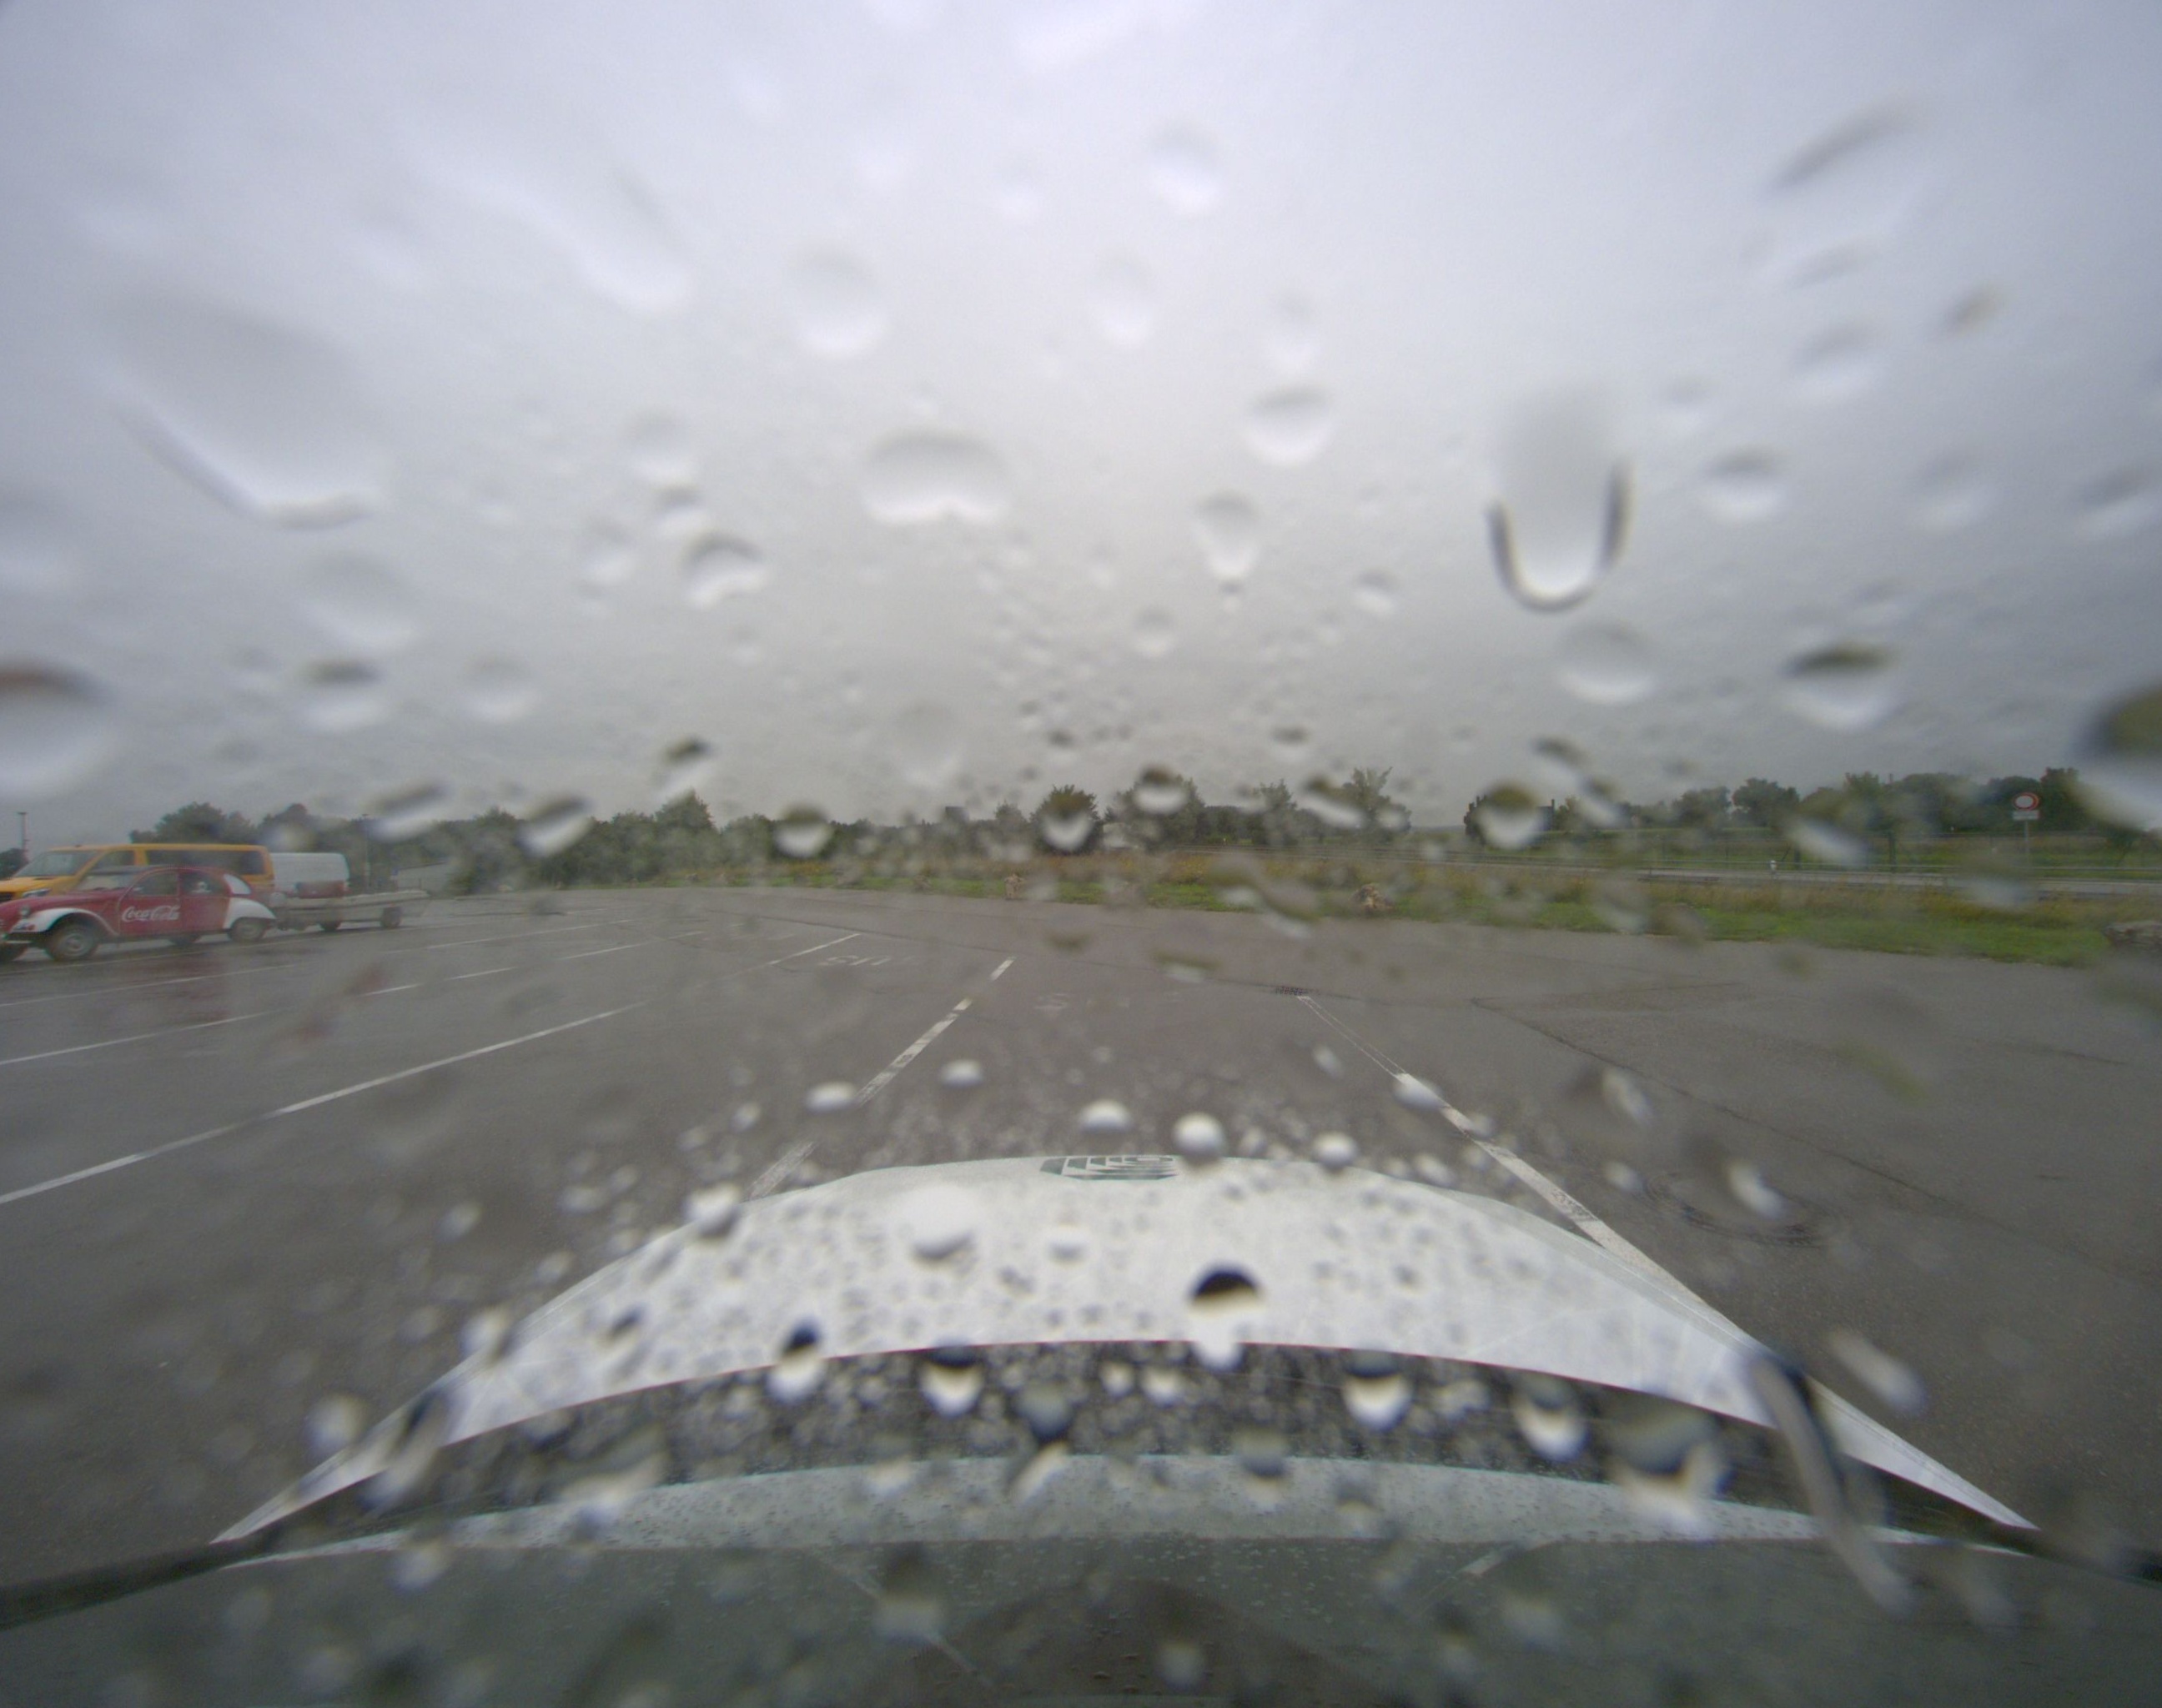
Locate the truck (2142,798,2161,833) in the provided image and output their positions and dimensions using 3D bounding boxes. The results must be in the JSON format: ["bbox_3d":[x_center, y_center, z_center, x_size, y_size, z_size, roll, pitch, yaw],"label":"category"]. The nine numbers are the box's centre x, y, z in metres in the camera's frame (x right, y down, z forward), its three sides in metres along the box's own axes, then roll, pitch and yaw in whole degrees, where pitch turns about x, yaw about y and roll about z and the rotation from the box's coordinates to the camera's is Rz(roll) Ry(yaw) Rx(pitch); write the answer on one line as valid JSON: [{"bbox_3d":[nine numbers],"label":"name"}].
[{"bbox_3d":[91.901,-3.208,65.482,2.185,2.908,7.736,-1,1,-21],"label":"truck"}]

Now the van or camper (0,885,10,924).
[{"bbox_3d":[-62.366,2.910,46.026,3.948,2.166,2.013,-2,0,34],"label":"van or camper"}]

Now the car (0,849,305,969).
[{"bbox_3d":[-16.541,0.844,14.247,1.813,1.777,4.006,-2,0,5],"label":"car"}]

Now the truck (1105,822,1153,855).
[{"bbox_3d":[5.119,-1.667,88.865,2.745,3.391,8.022,-1,0,-16],"label":"truck"}]

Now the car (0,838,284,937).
[{"bbox_3d":[-26.724,0.869,23.120,1.986,2.380,6.028,-4,0,2],"label":"car"}]

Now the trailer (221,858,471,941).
[{"bbox_3d":[-16.168,0.924,18.250,1.687,1.532,4.006,-2,1,5],"label":"trailer"}]
